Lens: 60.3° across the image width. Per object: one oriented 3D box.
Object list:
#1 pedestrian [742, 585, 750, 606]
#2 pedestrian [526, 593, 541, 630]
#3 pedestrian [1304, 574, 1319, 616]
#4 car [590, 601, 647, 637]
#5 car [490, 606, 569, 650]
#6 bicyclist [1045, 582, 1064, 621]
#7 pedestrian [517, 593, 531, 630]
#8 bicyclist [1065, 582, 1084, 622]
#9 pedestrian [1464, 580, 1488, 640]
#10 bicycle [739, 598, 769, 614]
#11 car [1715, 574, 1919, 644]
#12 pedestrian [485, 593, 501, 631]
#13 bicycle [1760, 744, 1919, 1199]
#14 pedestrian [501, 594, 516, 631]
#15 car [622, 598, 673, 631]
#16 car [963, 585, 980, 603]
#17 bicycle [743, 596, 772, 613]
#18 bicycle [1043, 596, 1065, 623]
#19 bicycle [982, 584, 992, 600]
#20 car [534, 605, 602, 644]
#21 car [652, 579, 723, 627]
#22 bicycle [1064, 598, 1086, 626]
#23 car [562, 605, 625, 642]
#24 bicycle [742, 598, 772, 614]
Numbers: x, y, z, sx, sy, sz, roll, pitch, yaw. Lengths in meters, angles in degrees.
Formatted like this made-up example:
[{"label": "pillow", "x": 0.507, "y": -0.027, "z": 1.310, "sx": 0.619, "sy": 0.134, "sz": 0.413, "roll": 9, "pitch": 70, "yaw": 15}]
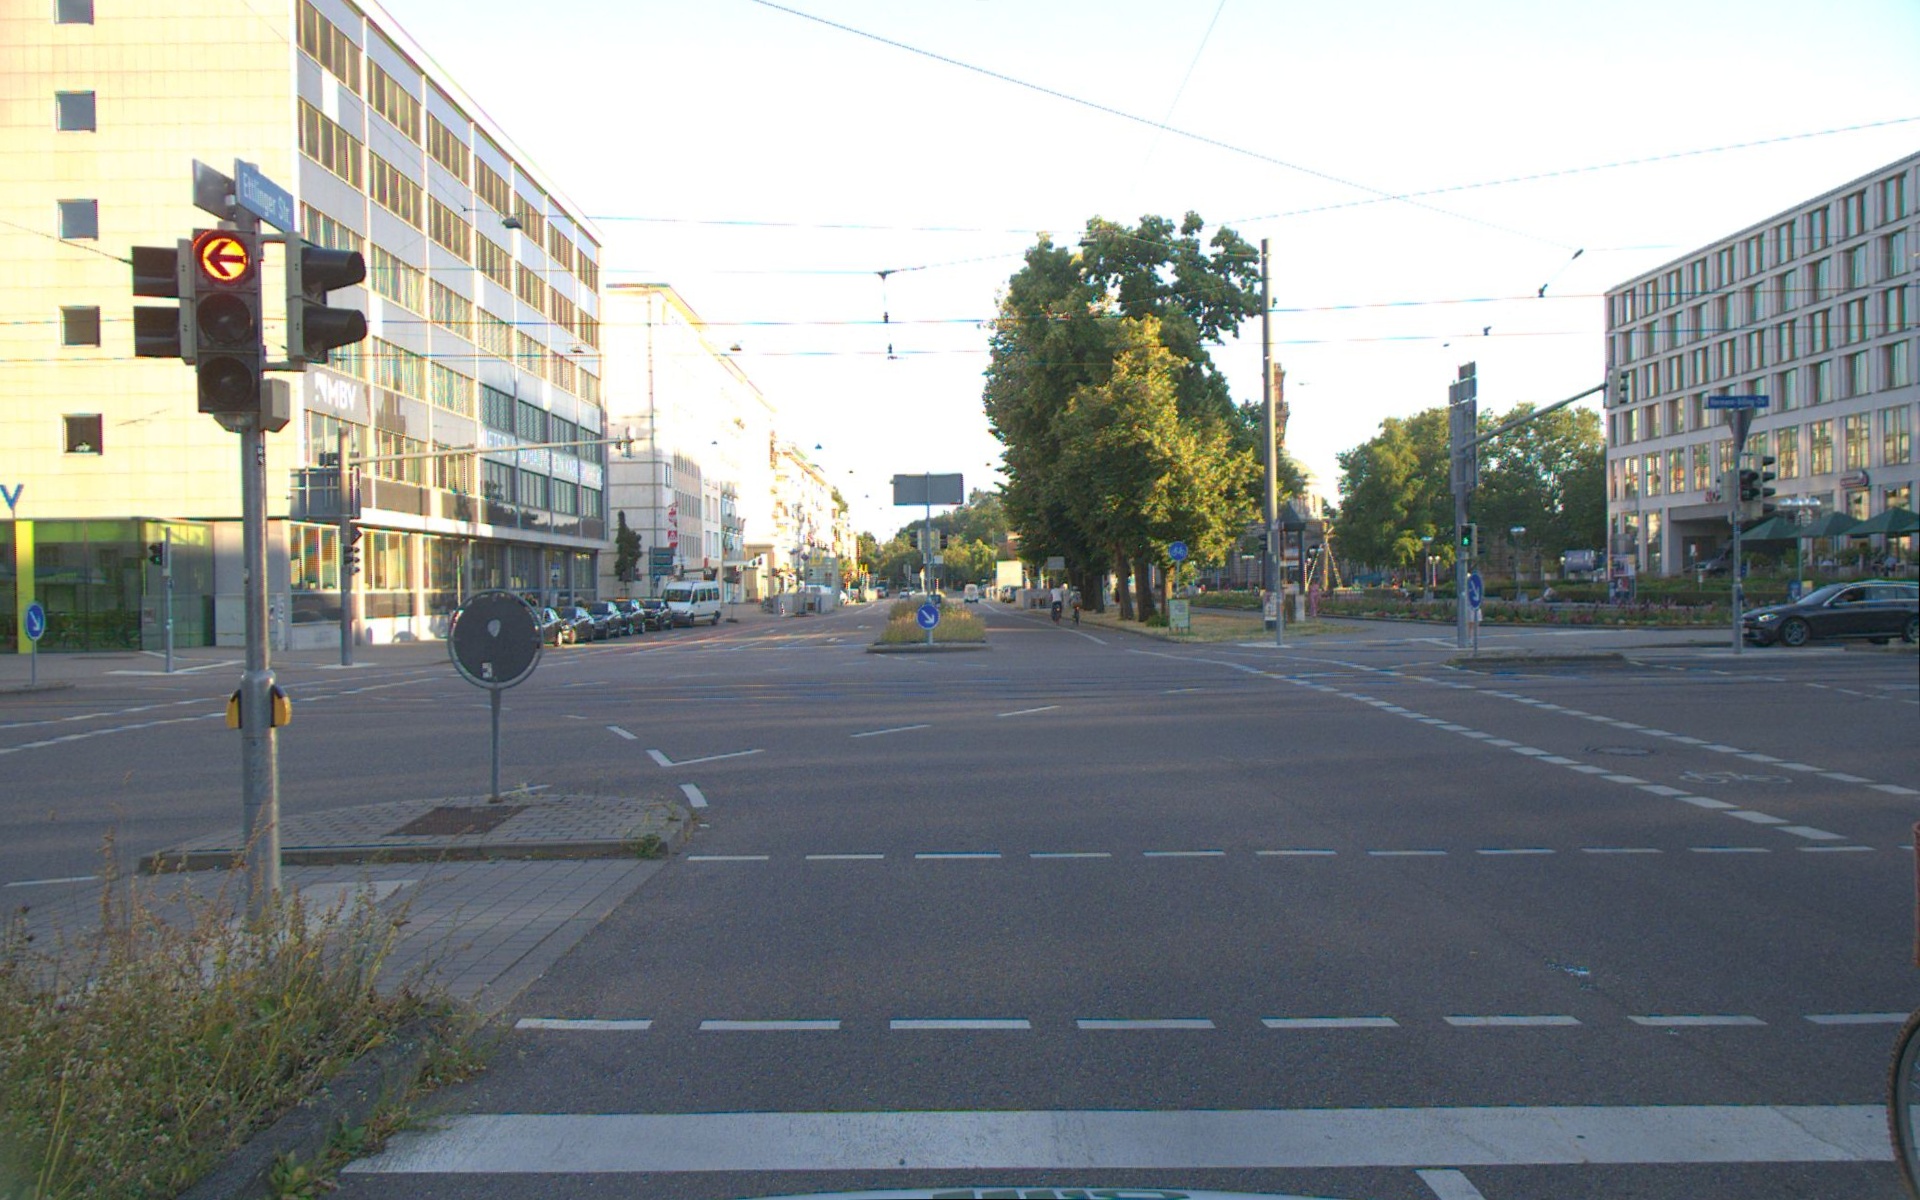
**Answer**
[{"label": "pedestrian", "x": -21.295, "y": -0.428, "z": 164.668, "sx": 0.666, "sy": 2.049, "sz": 0.545, "roll": -1, "pitch": 0, "yaw": -1}, {"label": "pedestrian", "x": -19.565, "y": 0.521, "z": 75.848, "sx": 0.540, "sy": 1.708, "sz": 0.500, "roll": -1, "pitch": 0, "yaw": -1}, {"label": "pedestrian", "x": 14.455, "y": -0.205, "z": 68.041, "sx": 0.451, "sy": 1.685, "sz": 0.566, "roll": -1, "pitch": 0, "yaw": -1}, {"label": "car", "x": -16.125, "y": 0.877, "z": 78.286, "sx": 1.882, "sy": 1.595, "sz": 3.999, "roll": -1, "pitch": 0, "yaw": -1}, {"label": "car", "x": -16.001, "y": 1.028, "z": 61.674, "sx": 1.882, "sy": 1.489, "sz": 4.102, "roll": -1, "pitch": 0, "yaw": -1}, {"label": "bicyclist", "x": 4.122, "y": 0.058, "z": 72.471, "sx": 0.731, "sy": 1.692, "sz": 0.873, "roll": -1, "pitch": 0, "yaw": -1}, {"label": "pedestrian", "x": -20.171, "y": 0.543, "z": 76.492, "sx": 0.490, "sy": 1.708, "sz": 0.500, "roll": -1, "pitch": 0, "yaw": -1}, {"label": "bicyclist", "x": 5.002, "y": 0.072, "z": 72.448, "sx": 0.731, "sy": 1.720, "sz": 0.799, "roll": -1, "pitch": 0, "yaw": -1}, {"label": "pedestrian", "x": 13.643, "y": 0.260, "z": 43.759, "sx": 0.480, "sy": 1.566, "sz": 0.408, "roll": -1, "pitch": 0, "yaw": -1}, {"label": "bicycle", "x": -15.580, "y": 0.460, "z": 125.292, "sx": 2.161, "sy": 1.131, "sz": 0.618, "roll": -1, "pitch": 0, "yaw": -3}, {"label": "car", "x": 21.049, "y": 0.208, "z": 39.937, "sx": 4.724, "sy": 1.542, "sz": 2.000, "roll": -1, "pitch": 0, "yaw": 1}, {"label": "pedestrian", "x": -21.402, "y": 0.554, "z": 75.814, "sx": 0.540, "sy": 1.708, "sz": 0.500, "roll": -1, "pitch": 0, "yaw": -1}, {"label": "bicycle", "x": 2.186, "y": 0.919, "z": 2.871, "sx": 0.599, "sy": 1.152, "sz": 2.004, "roll": 1, "pitch": 0, "yaw": -1}, {"label": "pedestrian", "x": -20.769, "y": 0.566, "z": 76.114, "sx": 0.540, "sy": 1.708, "sz": 0.500, "roll": -1, "pitch": 0, "yaw": -1}, {"label": "car", "x": -15.950, "y": 0.728, "z": 84.518, "sx": 1.882, "sy": 1.595, "sz": 3.999, "roll": -1, "pitch": 0, "yaw": -1}, {"label": "car", "x": 1.073, "y": -0.568, "z": 153.521, "sx": 1.379, "sy": 1.670, "sz": 3.998, "roll": -1, "pitch": 0, "yaw": -2}, {"label": "bicycle", "x": -15.751, "y": 0.383, "z": 128.627, "sx": 2.161, "sy": 1.258, "sz": 0.839, "roll": -1, "pitch": 0, "yaw": -2}, {"label": "bicycle", "x": 4.129, "y": 0.413, "z": 72.713, "sx": 0.731, "sy": 1.164, "sz": 2.505, "roll": -1, "pitch": 0, "yaw": -1}, {"label": "bicycle", "x": 3.428, "y": -1.016, "z": 207.970, "sx": 0.981, "sy": 2.049, "sz": 4.002, "roll": -1, "pitch": 0, "yaw": 4}, {"label": "car", "x": -16.109, "y": 0.988, "z": 68.169, "sx": 1.882, "sy": 1.489, "sz": 3.999, "roll": -1, "pitch": 0, "yaw": -1}, {"label": "car", "x": -14.932, "y": 0.140, "z": 90.993, "sx": 1.958, "sy": 2.521, "sz": 5.873, "roll": -1, "pitch": 0, "yaw": 9}, {"label": "bicycle", "x": 5.016, "y": 0.504, "z": 72.342, "sx": 0.731, "sy": 1.164, "sz": 2.505, "roll": -1, "pitch": 0, "yaw": -1}, {"label": "car", "x": -16.129, "y": 1.008, "z": 72.983, "sx": 1.882, "sy": 1.489, "sz": 3.999, "roll": -1, "pitch": 0, "yaw": -1}, {"label": "bicycle", "x": -15.567, "y": 0.452, "z": 126.774, "sx": 2.161, "sy": 1.131, "sz": 0.689, "roll": -1, "pitch": 0, "yaw": -2}]
